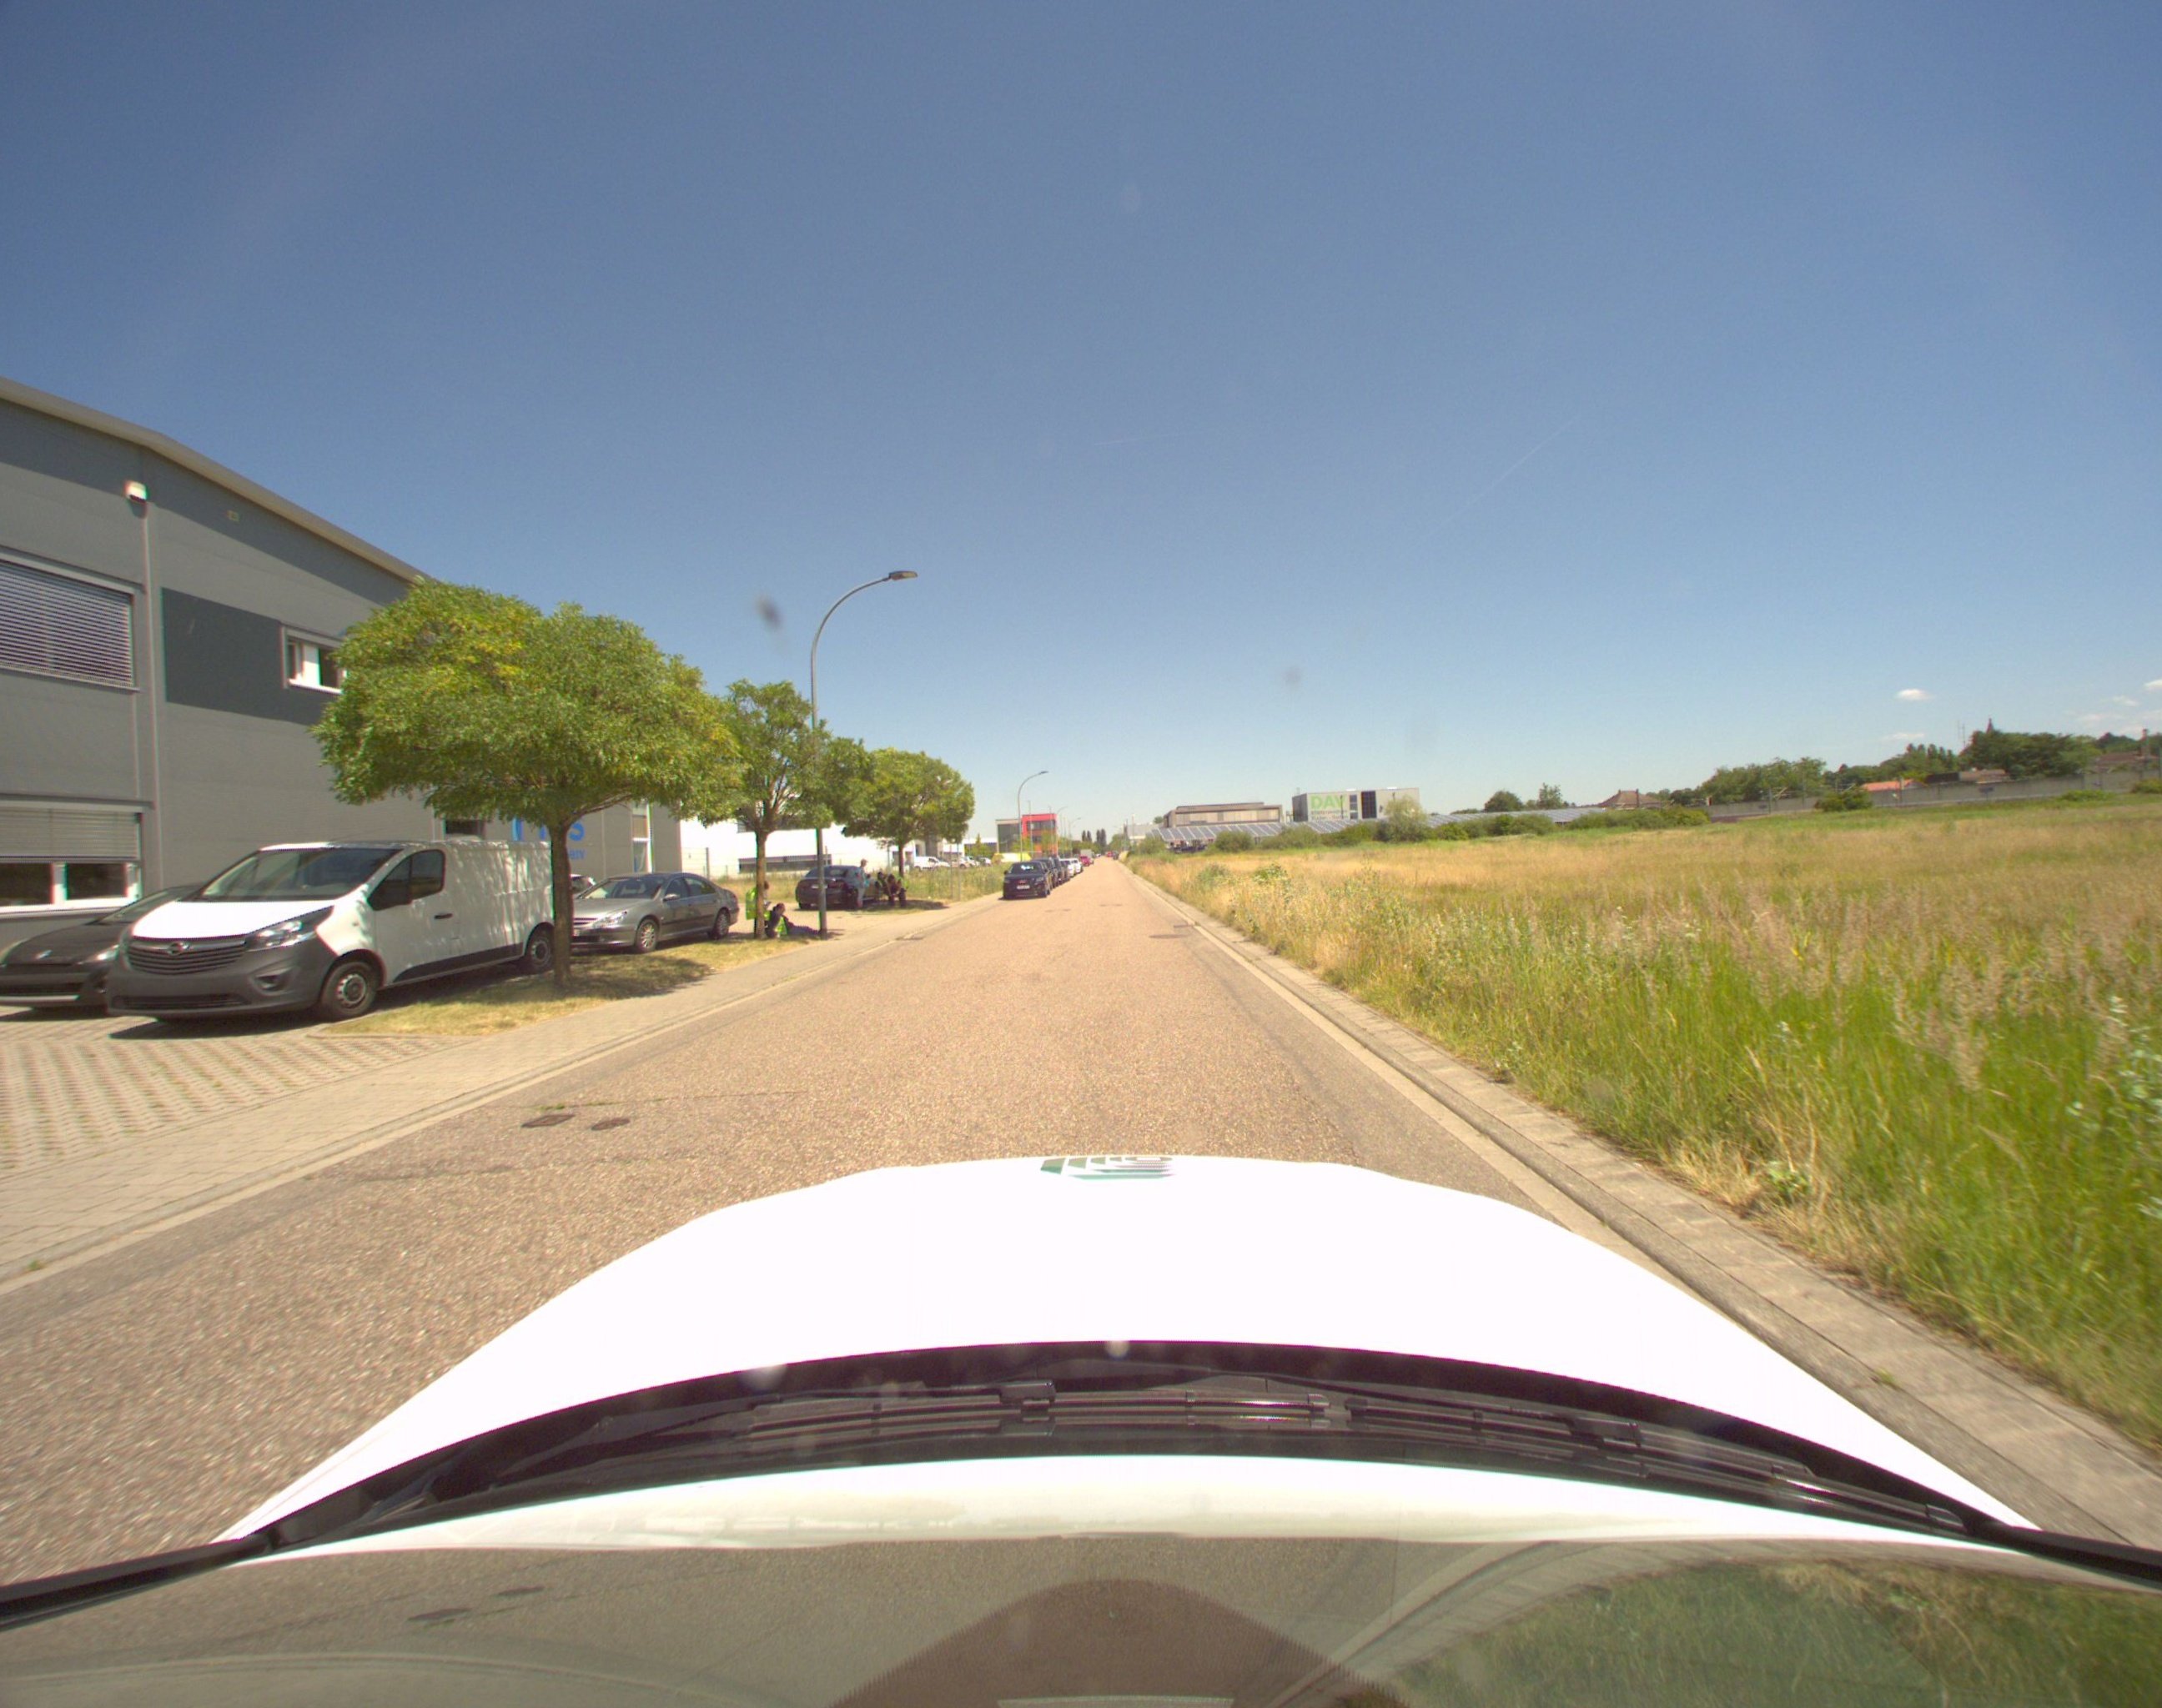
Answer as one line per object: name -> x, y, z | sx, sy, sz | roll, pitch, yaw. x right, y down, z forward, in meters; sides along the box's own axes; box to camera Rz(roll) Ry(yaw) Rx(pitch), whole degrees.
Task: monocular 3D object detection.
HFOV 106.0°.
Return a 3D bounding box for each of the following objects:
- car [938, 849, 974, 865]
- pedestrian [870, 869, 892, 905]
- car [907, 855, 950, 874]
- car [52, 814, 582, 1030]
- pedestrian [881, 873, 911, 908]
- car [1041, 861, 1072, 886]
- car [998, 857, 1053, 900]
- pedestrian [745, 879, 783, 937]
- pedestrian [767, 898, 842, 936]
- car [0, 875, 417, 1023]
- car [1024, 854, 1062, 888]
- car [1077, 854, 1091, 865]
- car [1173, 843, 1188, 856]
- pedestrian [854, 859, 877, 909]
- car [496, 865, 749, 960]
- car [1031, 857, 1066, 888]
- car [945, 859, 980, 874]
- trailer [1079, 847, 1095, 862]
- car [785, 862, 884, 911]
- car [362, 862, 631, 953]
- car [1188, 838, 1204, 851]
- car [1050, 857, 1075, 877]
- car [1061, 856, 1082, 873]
car -> -17.193, 0.470, 112.536 | 4.511, 1.943, 2.032 | -3, 0, 2
pedestrian -> -6.848, 1.123, 27.913 | 0.503, 1.191, 0.754 | 0, 0, 4
car -> -17.825, 1.181, 95.373 | 4.511, 1.943, 2.032 | -3, 0, 2
car -> -8.763, 0.629, 10.237 | 1.831, 2.018, 5.124 | 0, 0, 0
pedestrian -> -6.007, 1.181, 26.470 | 0.747, 1.098, 0.647 | 0, 0, 5
car -> -1.660, 1.280, 56.352 | 1.762, 1.485, 5.016 | -3, 0, 2
car -> -2.263, 0.967, 34.450 | 1.920, 1.567, 4.190 | -3, 0, 1
pedestrian -> -6.475, 1.100, 16.641 | 0.475, 1.150, 0.557 | 0, -3, 11
pedestrian -> -5.986, 1.353, 17.677 | 1.352, 0.749, 0.754 | 0, 0, 3
car -> -11.324, 1.055, 10.643 | 1.920, 1.440, 4.087 | 0, 0, 0
car -> -2.076, 0.908, 45.139 | 1.671, 1.663, 4.238 | -3, 0, 2
car -> 0.462, 0.743, 116.868 | 1.780, 1.520, 3.984 | -3, 0, 2
car -> 16.613, -0.671, 135.600 | 1.986, 2.013, 4.001 | -3, 0, 1
pedestrian -> -7.046, 0.974, 26.656 | 0.503, 1.595, 0.754 | 0, 0, 4
car -> -8.476, 1.001, 15.710 | 1.919, 1.440, 4.844 | -3, -1, 3
car -> -1.937, 1.103, 50.253 | 1.762, 1.663, 4.554 | -3, 0, 2
car -> -16.819, 1.784, 115.771 | 4.511, 1.943, 2.032 | -3, 0, 2
trailer -> 0.973, 0.039, 128.372 | 2.193, 2.137, 4.287 | -3, 0, 2
car -> -8.325, 1.035, 27.975 | 1.920, 1.464, 4.692 | 0, 0, 1
car -> -11.134, 0.925, 16.016 | 1.919, 1.464, 4.468 | 0, 0, 3
car -> 19.139, -1.561, 135.631 | 1.986, 2.013, 4.001 | -3, 0, 1
car -> -1.521, 1.075, 67.492 | 1.780, 1.520, 3.984 | -3, 0, 2
car -> -0.910, 1.005, 78.749 | 1.780, 1.520, 3.984 | -3, 0, 2
